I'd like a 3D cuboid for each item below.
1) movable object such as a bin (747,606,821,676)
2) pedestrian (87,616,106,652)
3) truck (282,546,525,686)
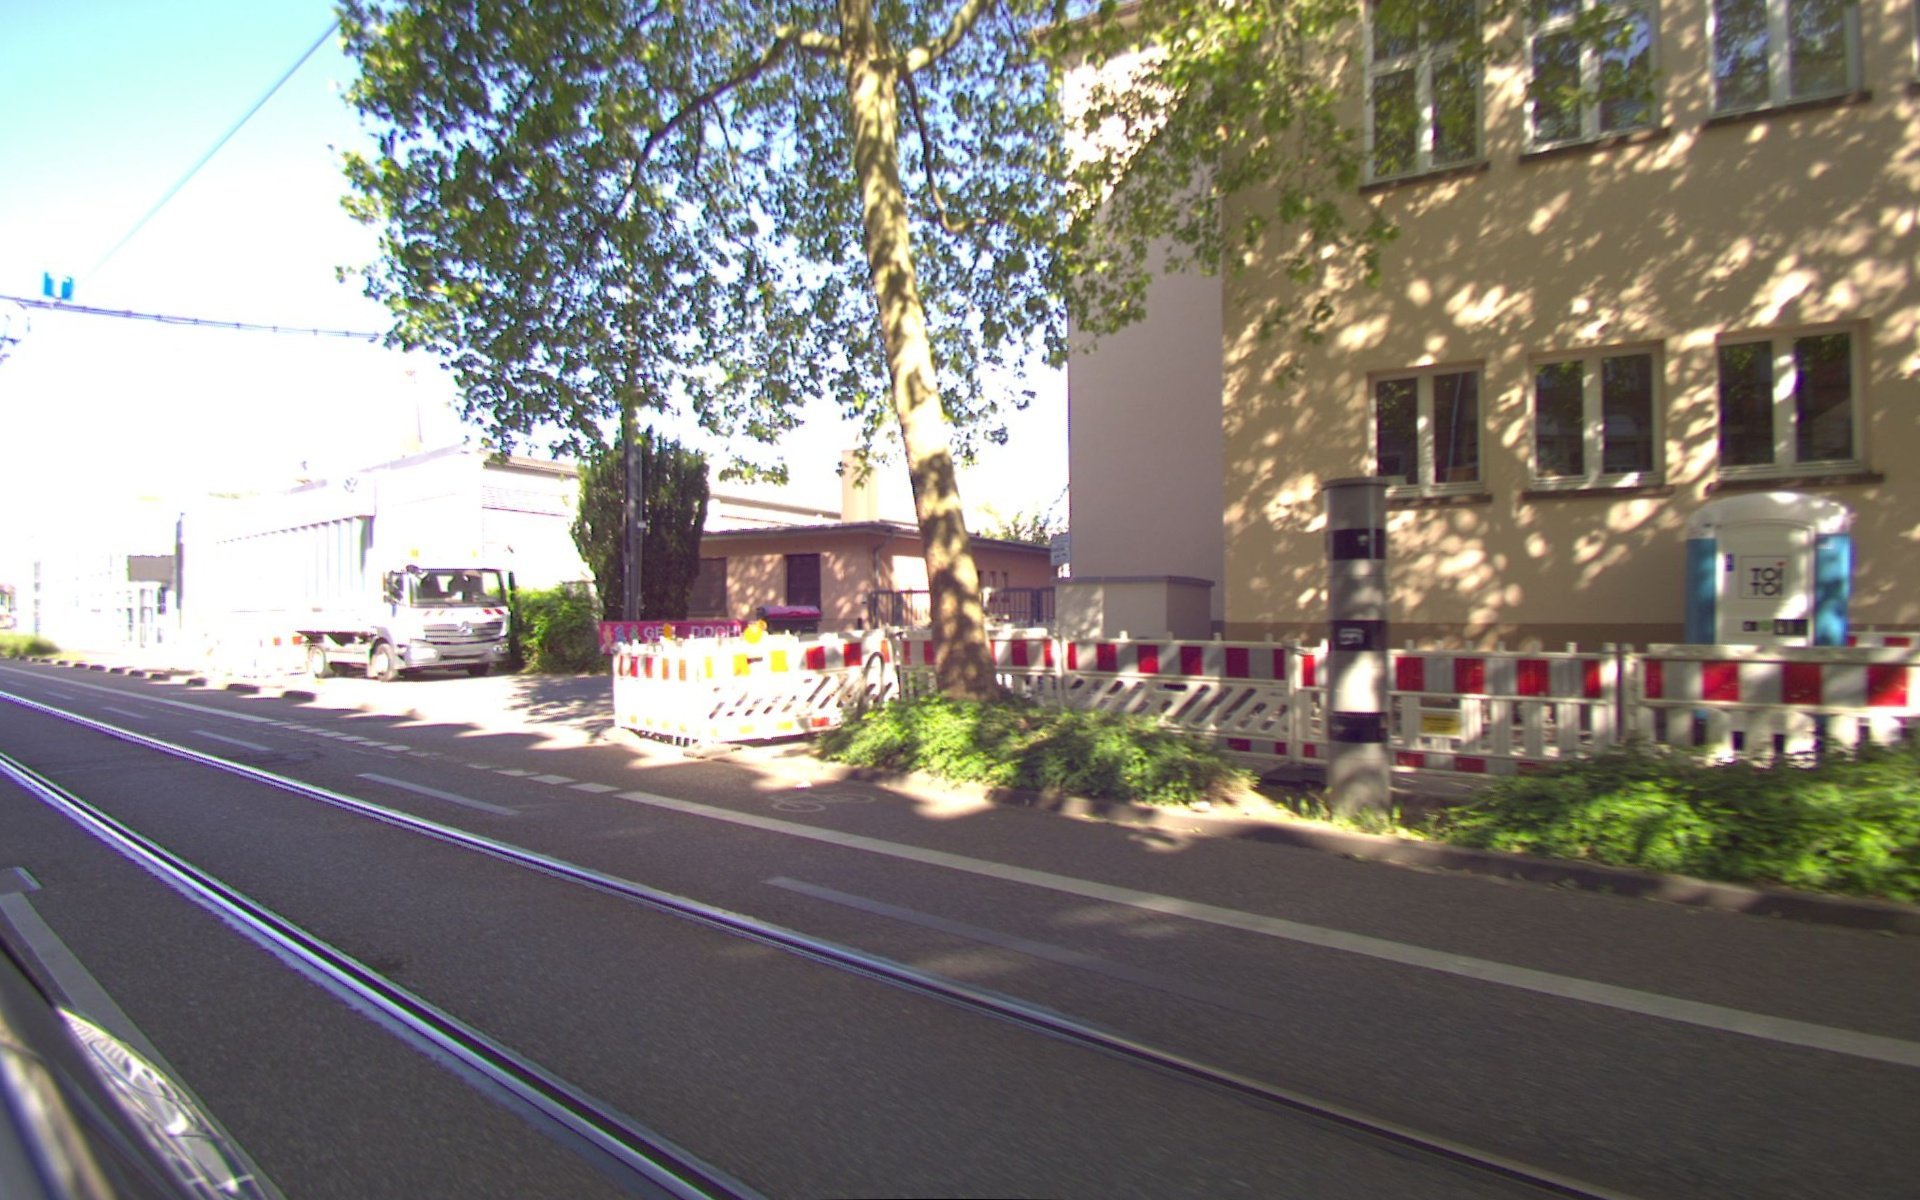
[{"bbox_3d":[-3.838,0.865,22.010,1.120,1.416,1.291,-2,1,-34],"label":"movable object such as a bin"},{"bbox_3d":[-42.672,1.676,50.020,1.050,1.778,0.521,-1,1,40],"label":"pedestrian"},{"bbox_3d":[-13.048,0.323,23.524,6.365,2.851,2.515,-1,1,37],"label":"truck"}]
